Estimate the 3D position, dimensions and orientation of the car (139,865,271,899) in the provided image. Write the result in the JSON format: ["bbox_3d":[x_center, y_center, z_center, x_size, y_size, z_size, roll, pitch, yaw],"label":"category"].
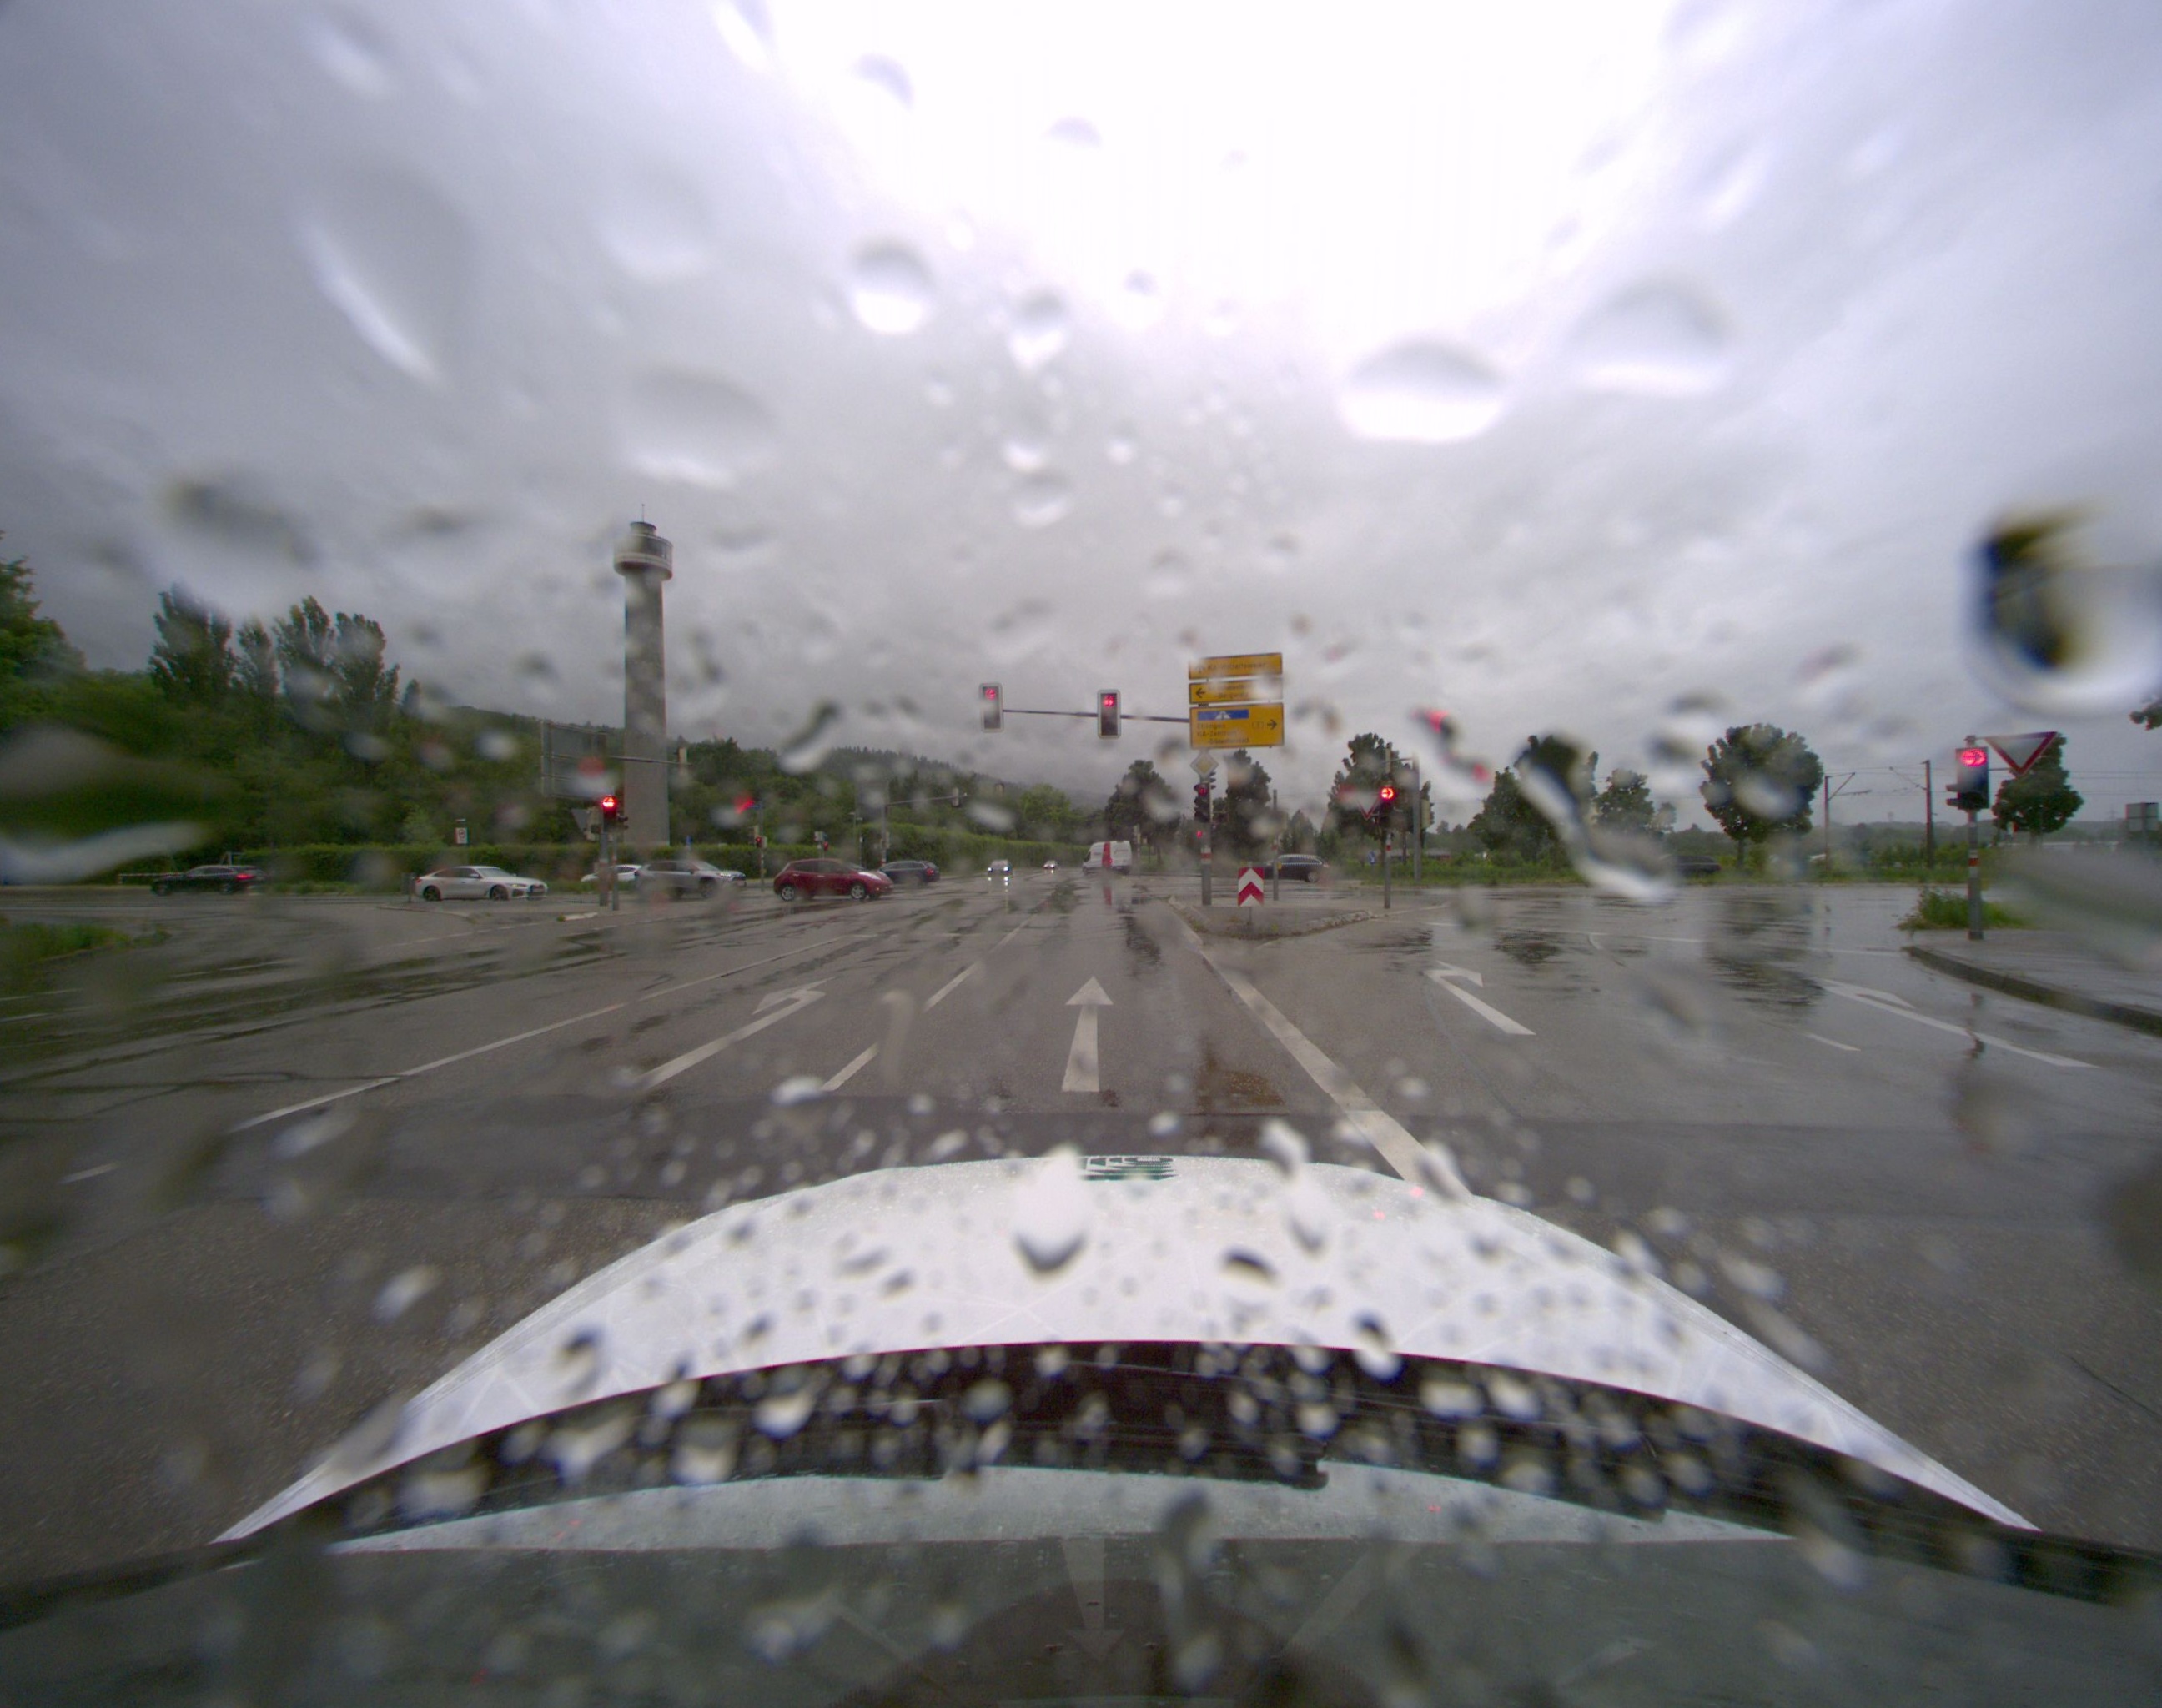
[{"bbox_3d":[-47.494,1.509,44.254,4.669,1.639,1.816,-1,0,-10],"label":"car"}]

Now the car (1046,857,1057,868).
[{"bbox_3d":[-4.444,1.258,122.782,1.553,1.481,3.361,-1,0,1],"label":"car"}]

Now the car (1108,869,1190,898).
[{"bbox_3d":[3.995,1.704,47.558,4.647,1.553,1.825,-1,0,5],"label":"car"}]

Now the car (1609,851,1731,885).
[{"bbox_3d":[29.331,0.699,40.691,4.641,1.553,1.827,-1,0,9],"label":"car"}]

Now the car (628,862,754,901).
[{"bbox_3d":[-16.556,1.147,34.681,4.501,1.579,1.917,0,0,8],"label":"car"}]

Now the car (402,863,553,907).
[{"bbox_3d":[-23.571,1.206,31.856,4.853,1.553,1.804,-1,0,8],"label":"car"}]

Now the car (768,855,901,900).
[{"bbox_3d":[-9.112,0.846,30.237,4.351,1.579,1.736,-1,0,7],"label":"car"}]

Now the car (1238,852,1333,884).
[{"bbox_3d":[10.794,0.751,43.279,4.648,1.553,1.825,-1,0,4],"label":"car"}]

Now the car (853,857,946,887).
[{"bbox_3d":[-10.070,0.984,45.352,4.650,1.553,1.824,-1,0,3],"label":"car"}]

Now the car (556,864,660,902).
[{"bbox_3d":[-26.607,1.605,45.936,4.663,1.915,1.911,-1,0,-6],"label":"car"}]

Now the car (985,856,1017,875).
[{"bbox_3d":[-7.170,0.999,73.082,1.869,1.573,4.652,-3,0,6],"label":"car"}]

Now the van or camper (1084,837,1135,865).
[{"bbox_3d":[2.255,-0.253,65.458,2.164,2.169,4.824,-1,0,-25],"label":"van or camper"}]
